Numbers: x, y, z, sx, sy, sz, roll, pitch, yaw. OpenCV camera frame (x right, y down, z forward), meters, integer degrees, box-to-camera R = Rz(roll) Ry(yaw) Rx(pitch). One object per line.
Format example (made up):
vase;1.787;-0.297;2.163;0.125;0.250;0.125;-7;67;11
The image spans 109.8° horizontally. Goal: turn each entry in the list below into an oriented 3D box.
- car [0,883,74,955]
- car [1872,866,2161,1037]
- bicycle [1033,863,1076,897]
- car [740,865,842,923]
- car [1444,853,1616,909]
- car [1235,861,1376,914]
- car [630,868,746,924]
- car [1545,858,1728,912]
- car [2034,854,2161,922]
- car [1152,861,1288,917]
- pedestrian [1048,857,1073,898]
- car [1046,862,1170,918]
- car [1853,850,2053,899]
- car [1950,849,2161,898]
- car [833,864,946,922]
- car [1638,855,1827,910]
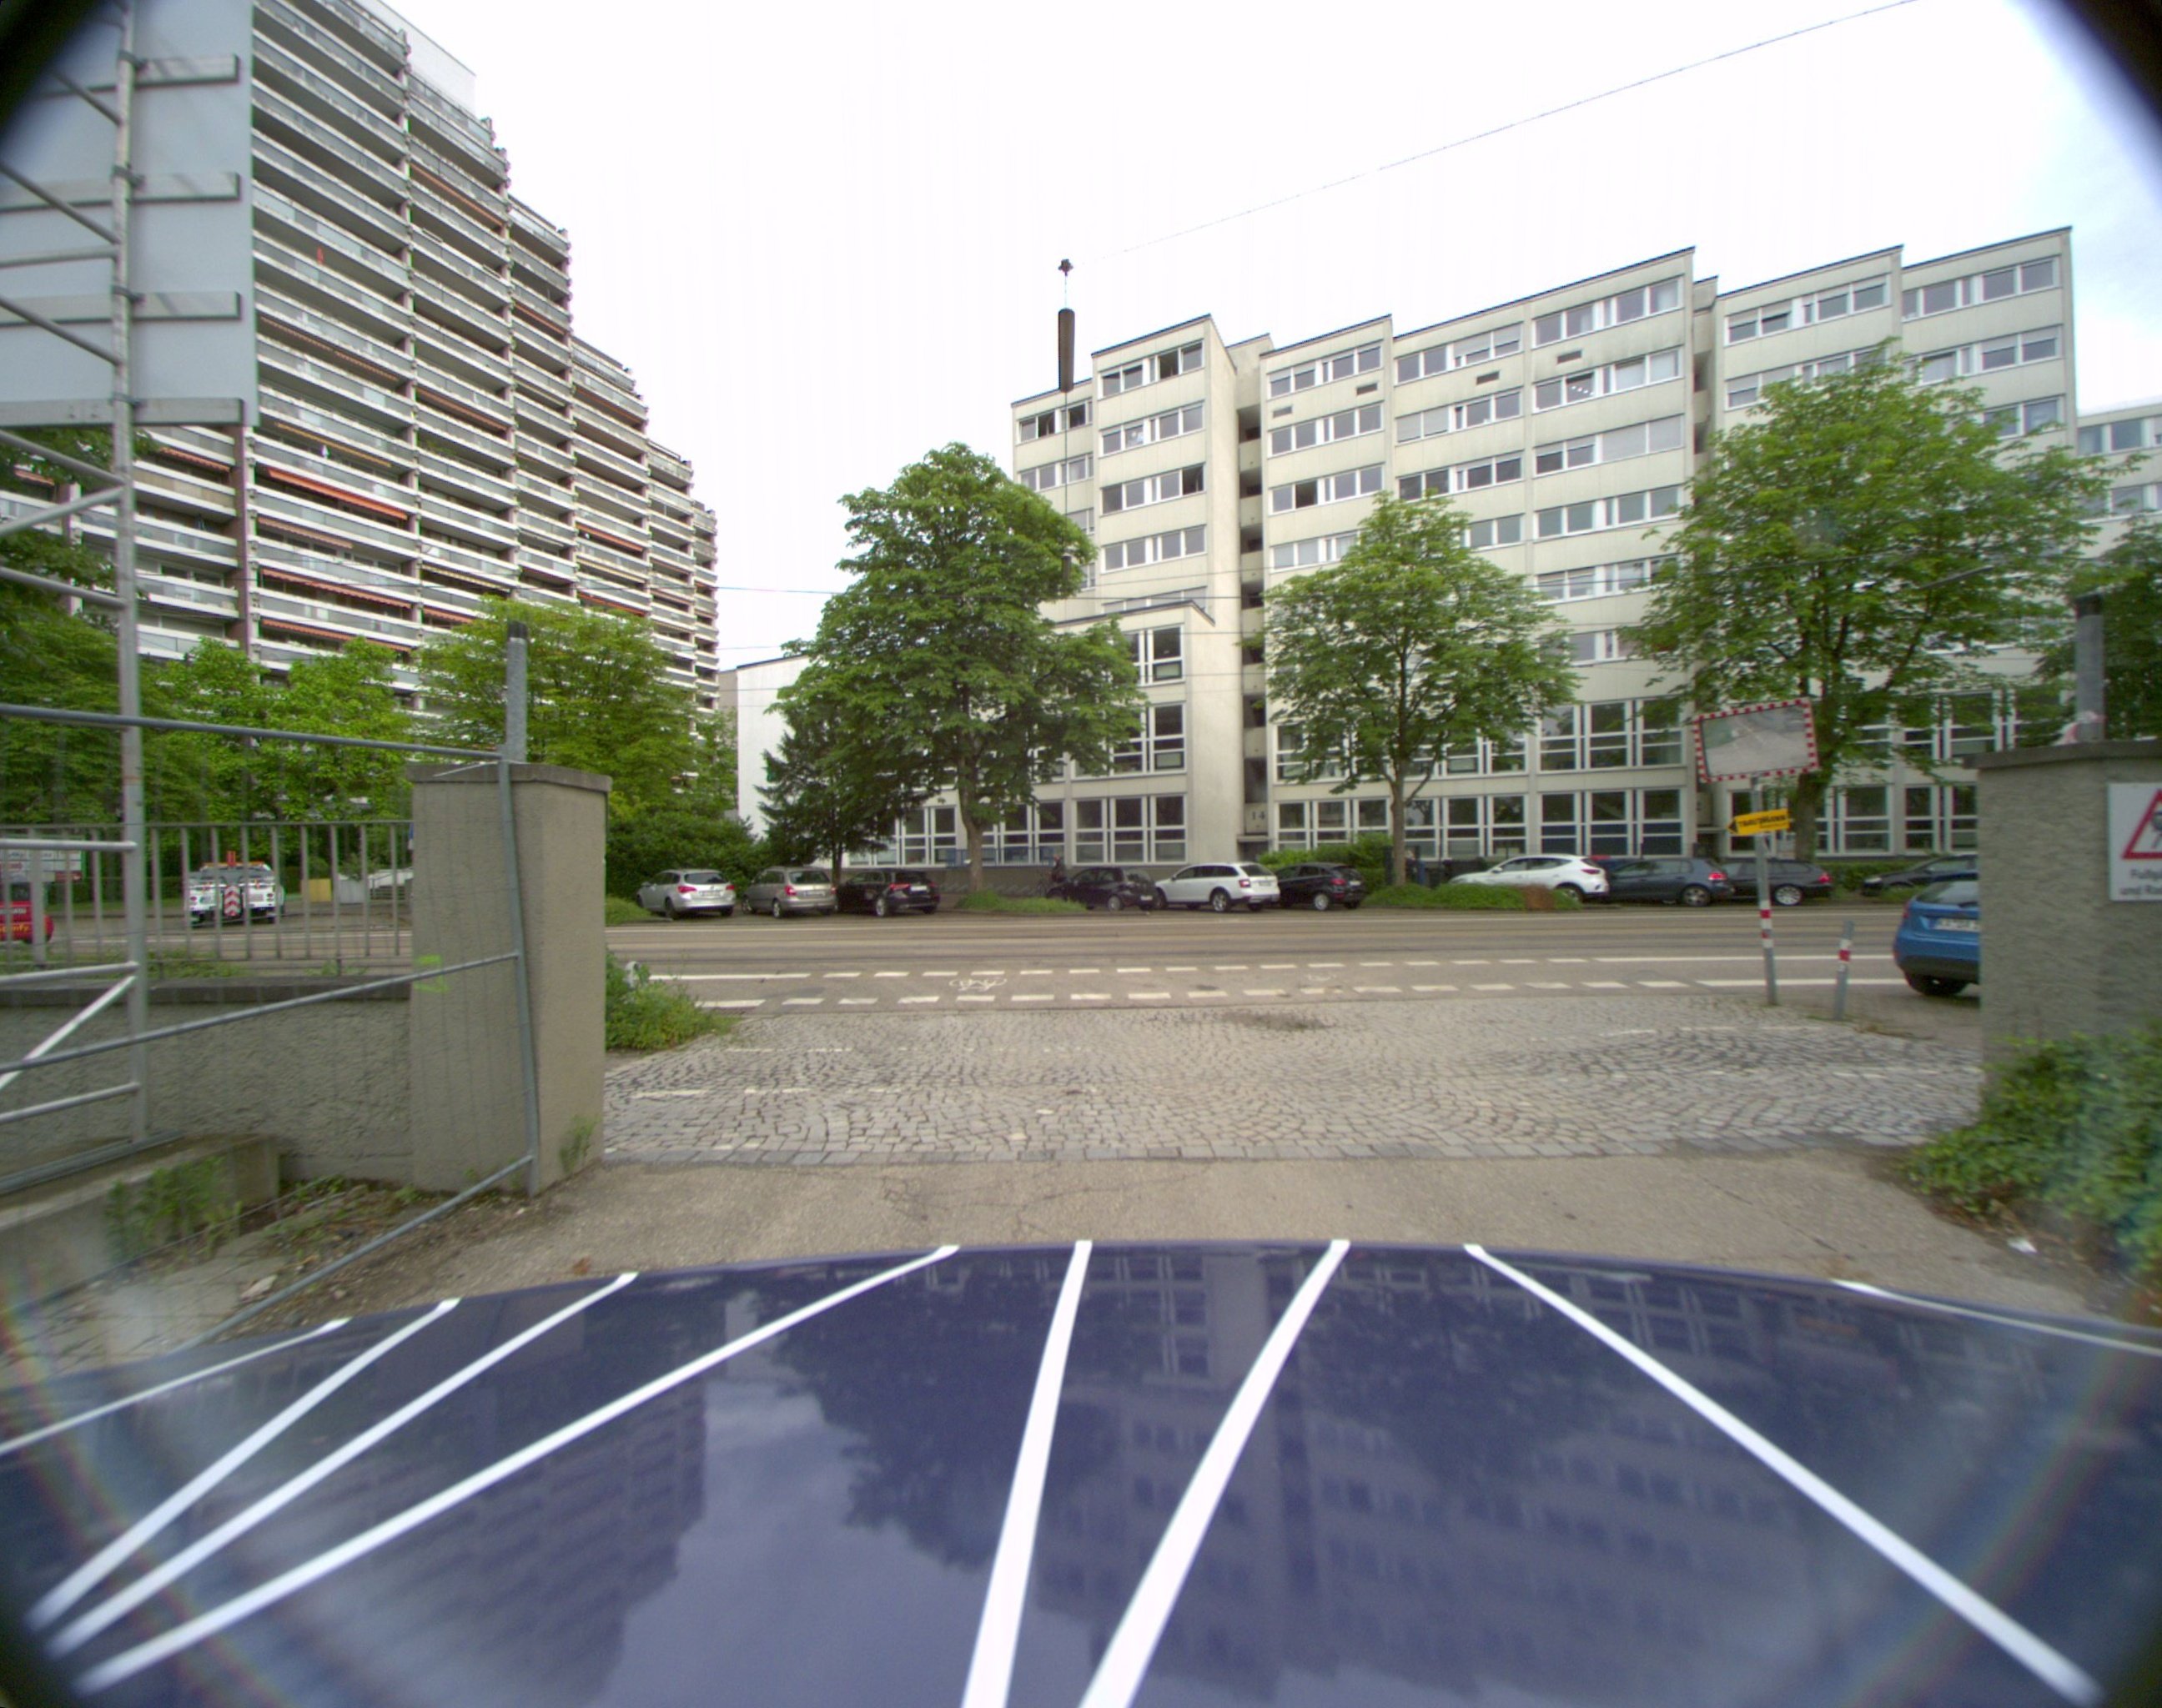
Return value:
car;-25.105;1.457;17.029;2.779;1.514;1.681;0;2;0
car;10.428;0.866;7.514;3.430;1.452;1.680;-1;-1;0
bicycle;-1.021;1.014;29.707;1.593;1.260;0.406;-1;0;10
car;-8.919;1.158;23.240;1.576;1.515;3.640;-2;2;-44
car;13.864;0.760;23.619;4.334;1.547;1.703;0;2;42
car;6.928;0.968;23.773;1.703;1.398;4.017;-2;2;-37
car;-12.280;1.221;23.604;4.419;1.456;1.807;0;1;43
car;17.040;0.872;23.471;1.703;1.445;4.334;-2;2;-45
car;24.833;0.721;17.318;3.997;1.420;1.746;-1;0;1
car;4.190;1.008;23.461;1.703;1.476;4.017;-2;2;-37
pedestrian;-0.812;0.931;30.312;0.753;1.602;0.735;1;3;21
car;0.784;1.049;23.670;1.703;1.515;3.695;-2;2;-44
car;26.868;0.575;23.637;1.703;1.344;3.956;-2;2;-45
car;30.166;0.552;23.660;1.703;1.344;3.956;-2;2;-45
car;-5.873;1.100;23.092;1.703;1.515;3.695;-2;2;-44
car;20.240;0.808;23.743;1.703;1.527;4.334;-2;2;-45
